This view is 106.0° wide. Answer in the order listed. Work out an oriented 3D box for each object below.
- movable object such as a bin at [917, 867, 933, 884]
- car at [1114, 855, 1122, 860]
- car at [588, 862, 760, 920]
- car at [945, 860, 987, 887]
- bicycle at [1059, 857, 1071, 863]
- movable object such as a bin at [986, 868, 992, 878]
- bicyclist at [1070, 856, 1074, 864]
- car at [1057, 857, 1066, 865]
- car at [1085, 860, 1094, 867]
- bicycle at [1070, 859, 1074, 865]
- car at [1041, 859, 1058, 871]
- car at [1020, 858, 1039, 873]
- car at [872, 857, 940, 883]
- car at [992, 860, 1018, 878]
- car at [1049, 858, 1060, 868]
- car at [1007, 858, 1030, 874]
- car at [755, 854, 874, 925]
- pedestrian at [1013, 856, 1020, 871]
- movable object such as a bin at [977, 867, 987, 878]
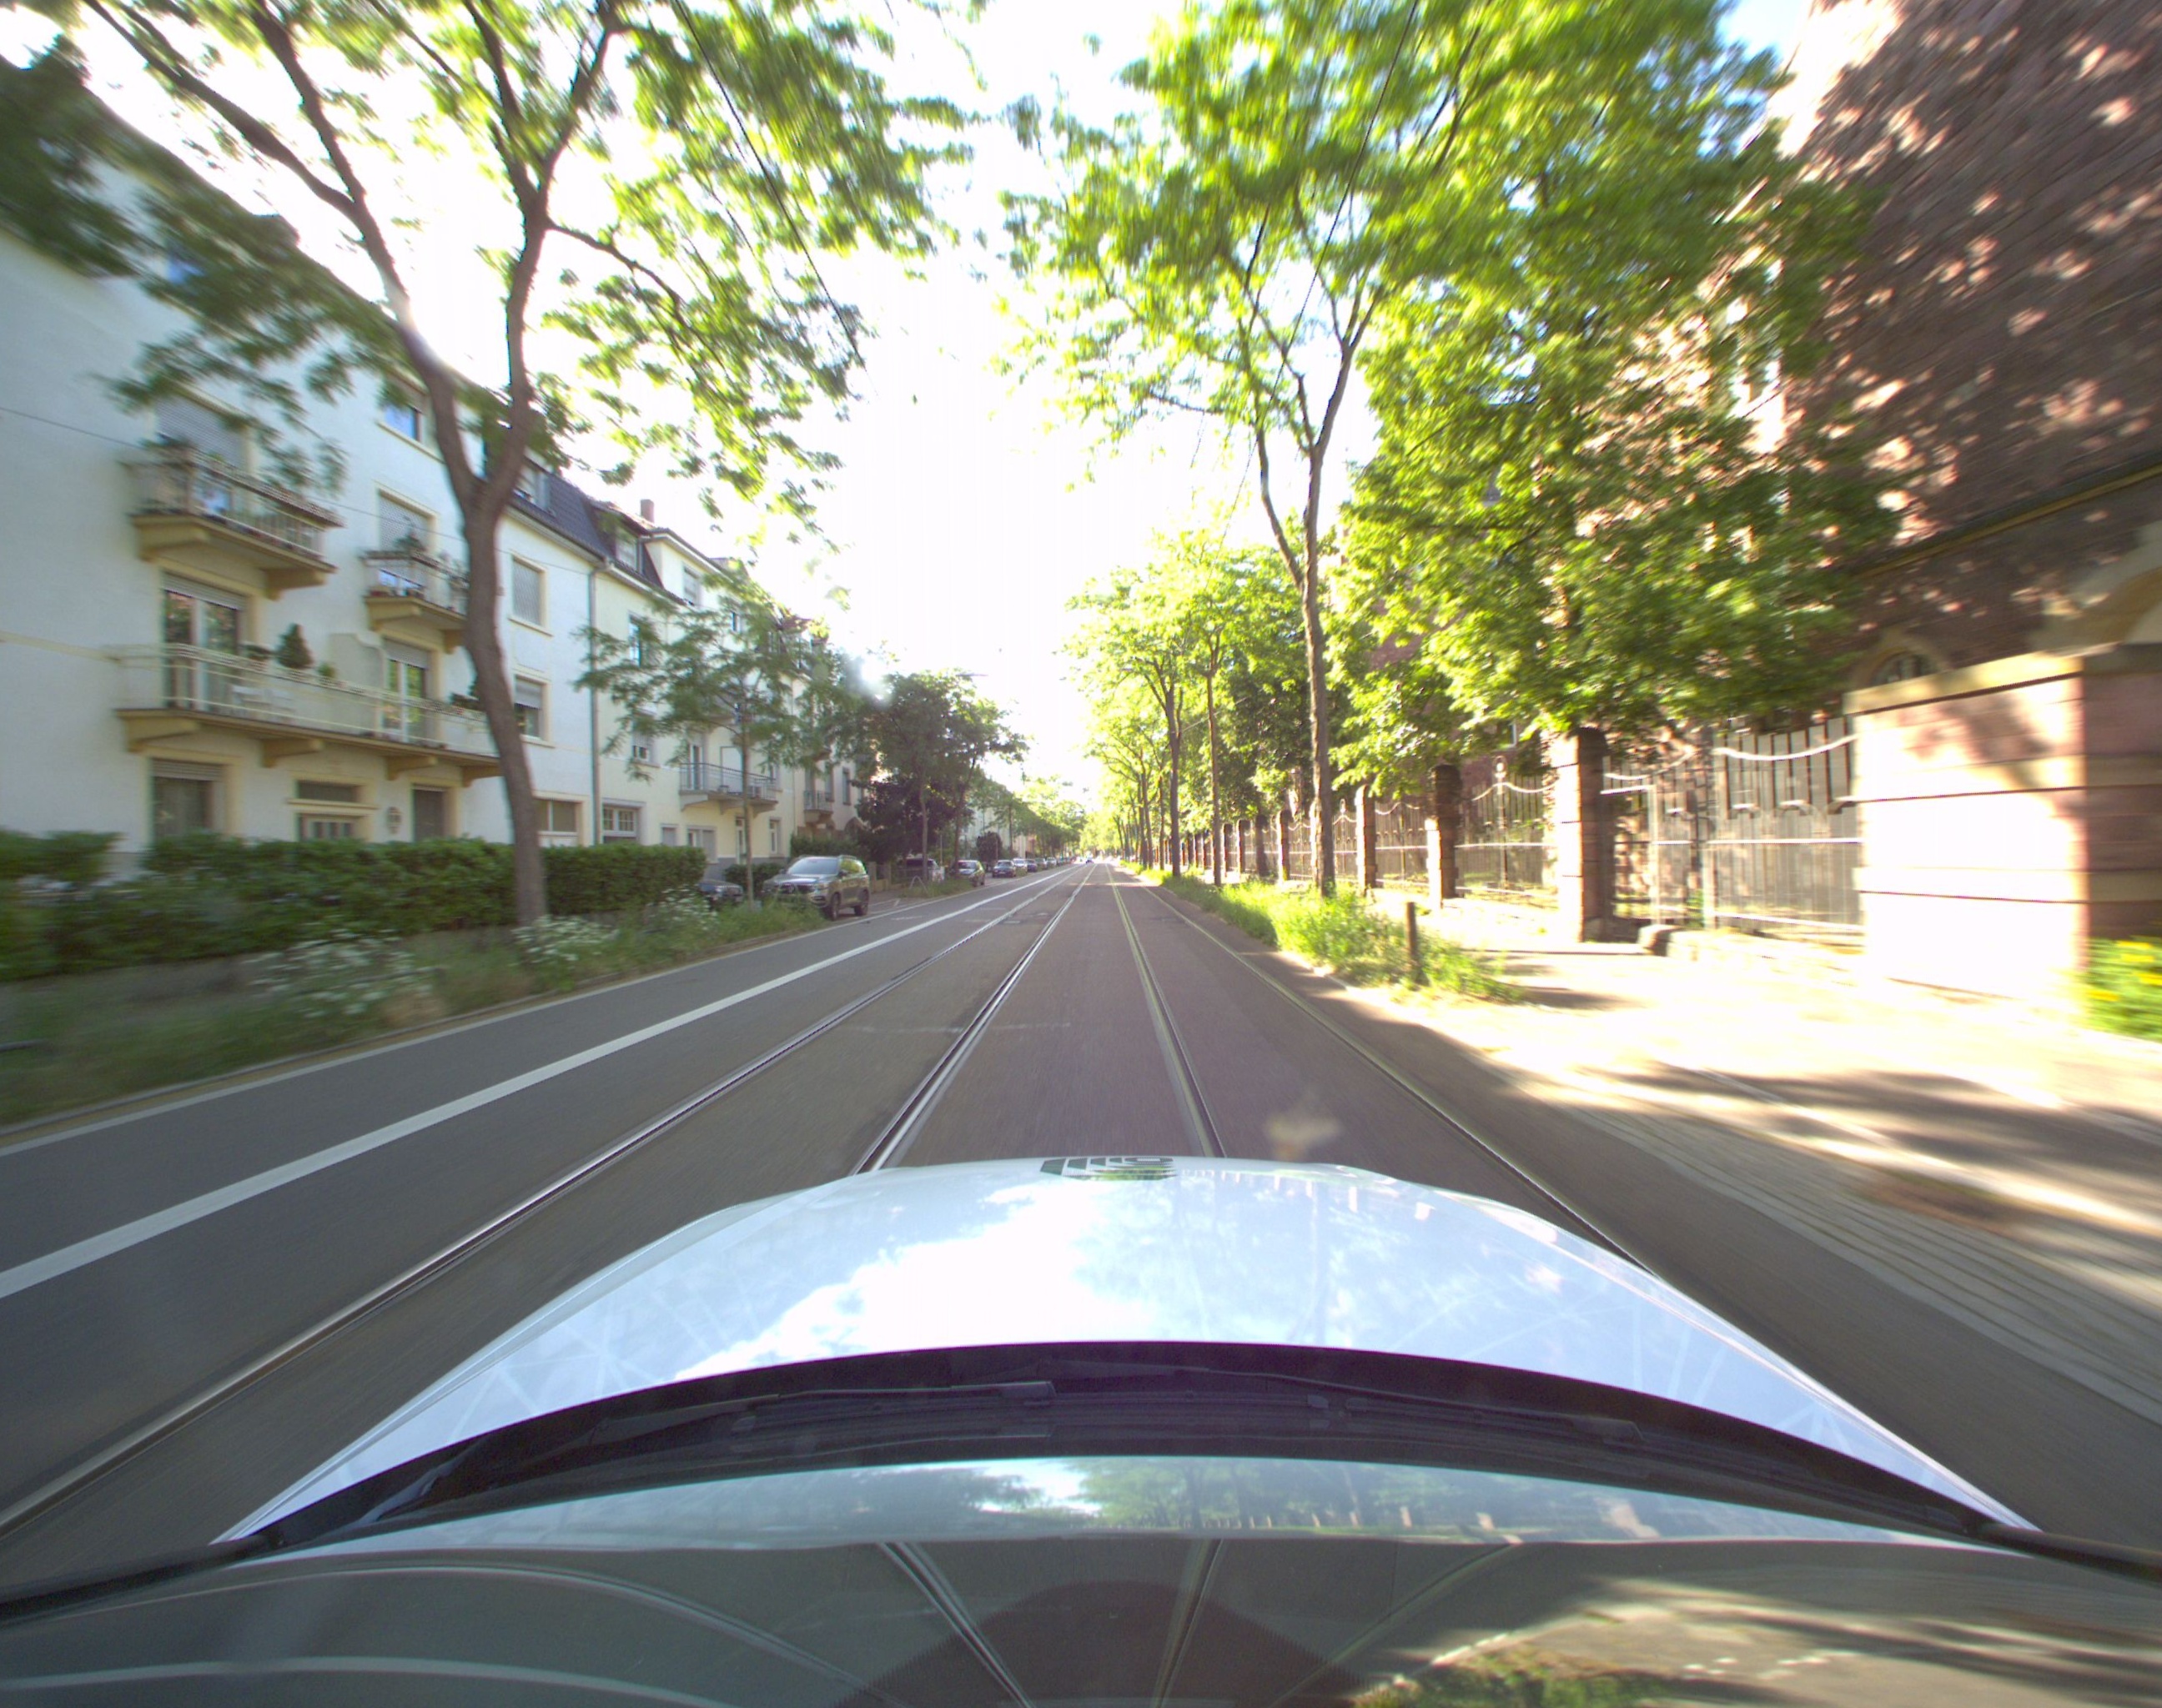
[{"bbox_3d":[-10.166,1.375,53.125,0.872,1.066,0.814,-2,0,1],"label":"movable object such as a bin"},{"bbox_3d":[11.265,1.056,246.672,1.938,1.610,3.995,-1,0,-4],"label":"car"},{"bbox_3d":[-12.362,1.102,24.920,4.283,1.661,1.954,0,0,2],"label":"car"},{"bbox_3d":[-6.881,1.143,49.022,1.770,1.541,4.487,0,0,2],"label":"car"},{"bbox_3d":[-3.301,1.306,166.390,2.272,1.198,0.561,1,0,8],"label":"bicycle"},{"bbox_3d":[-9.450,1.923,83.672,0.557,0.975,0.733,0,0,4],"label":"movable object such as a bin"},{"bbox_3d":[-1.832,1.163,168.377,0.624,1.639,0.940,-4,-1,1],"label":"bicyclist"},{"bbox_3d":[-3.536,1.229,147.161,1.555,1.457,3.929,1,0,-1],"label":"car"},{"bbox_3d":[1.802,2.069,174.215,1.752,1.439,4.523,-1,0,0],"label":"car"},{"bbox_3d":[-1.801,1.585,168.440,0.624,1.177,1.913,-4,0,1],"label":"bicycle"},{"bbox_3d":[-3.972,1.382,103.227,1.810,1.485,4.207,0,0,1],"label":"car"},{"bbox_3d":[-5.686,1.241,89.957,1.752,1.511,4.438,0,0,0],"label":"car"},{"bbox_3d":[-11.895,1.072,55.569,4.153,1.659,1.983,-1,0,-1],"label":"car"},{"bbox_3d":[-6.337,1.212,68.273,1.700,1.406,4.334,0,0,1],"label":"car"},{"bbox_3d":[-4.412,1.508,137.197,1.681,1.485,3.760,1,0,0],"label":"car"},{"bbox_3d":[-6.088,1.116,79.757,1.811,1.511,4.371,0,0,0],"label":"car"},{"bbox_3d":[-7.501,0.920,23.460,1.864,1.823,4.770,-1,0,0],"label":"car"},{"bbox_3d":[-7.831,1.186,99.251,0.689,1.801,0.813,-2,-1,1],"label":"pedestrian"},{"bbox_3d":[-10.167,1.902,83.728,0.841,1.046,0.733,0,0,4],"label":"movable object such as a bin"}]
